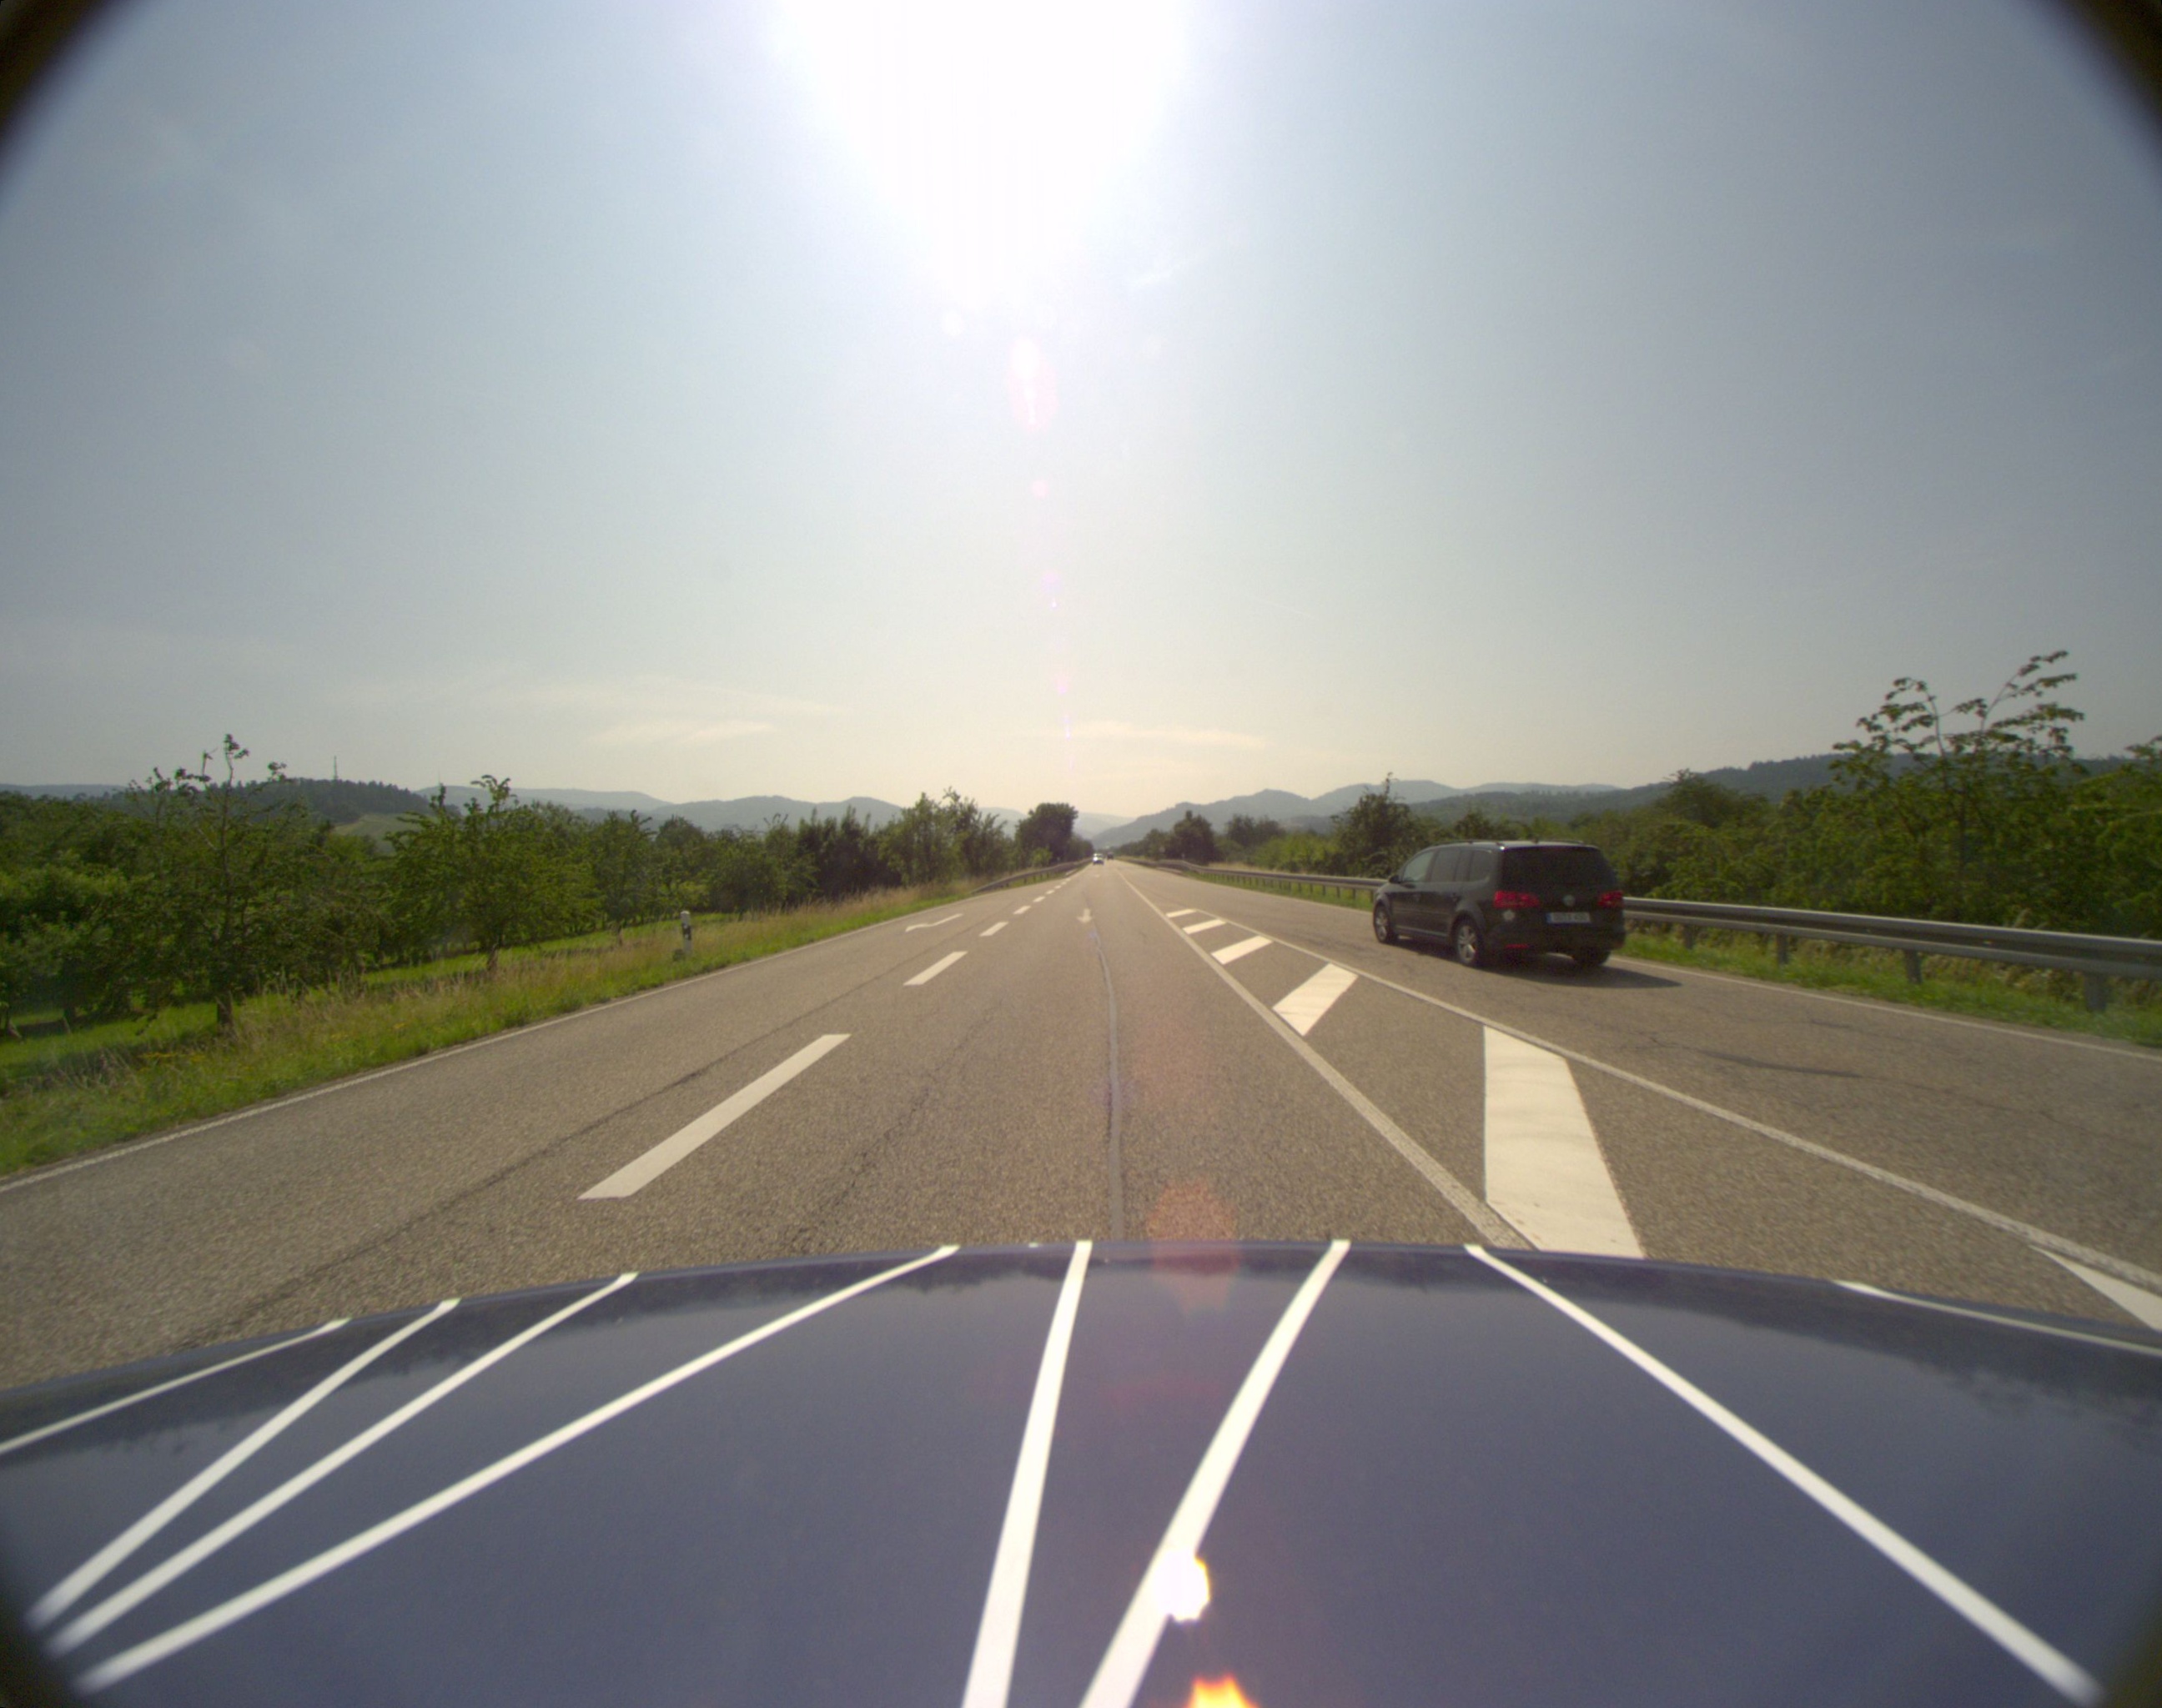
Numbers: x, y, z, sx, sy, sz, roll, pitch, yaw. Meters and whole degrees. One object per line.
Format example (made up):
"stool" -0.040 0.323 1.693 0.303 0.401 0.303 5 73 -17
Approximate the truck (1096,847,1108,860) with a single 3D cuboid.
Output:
"truck" 3.729 -0.182 136.656 2.031 2.232 4.765 -1 1 3

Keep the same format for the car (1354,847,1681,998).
"car" 5.716 0.740 10.836 1.808 1.628 4.808 -1 1 -1
